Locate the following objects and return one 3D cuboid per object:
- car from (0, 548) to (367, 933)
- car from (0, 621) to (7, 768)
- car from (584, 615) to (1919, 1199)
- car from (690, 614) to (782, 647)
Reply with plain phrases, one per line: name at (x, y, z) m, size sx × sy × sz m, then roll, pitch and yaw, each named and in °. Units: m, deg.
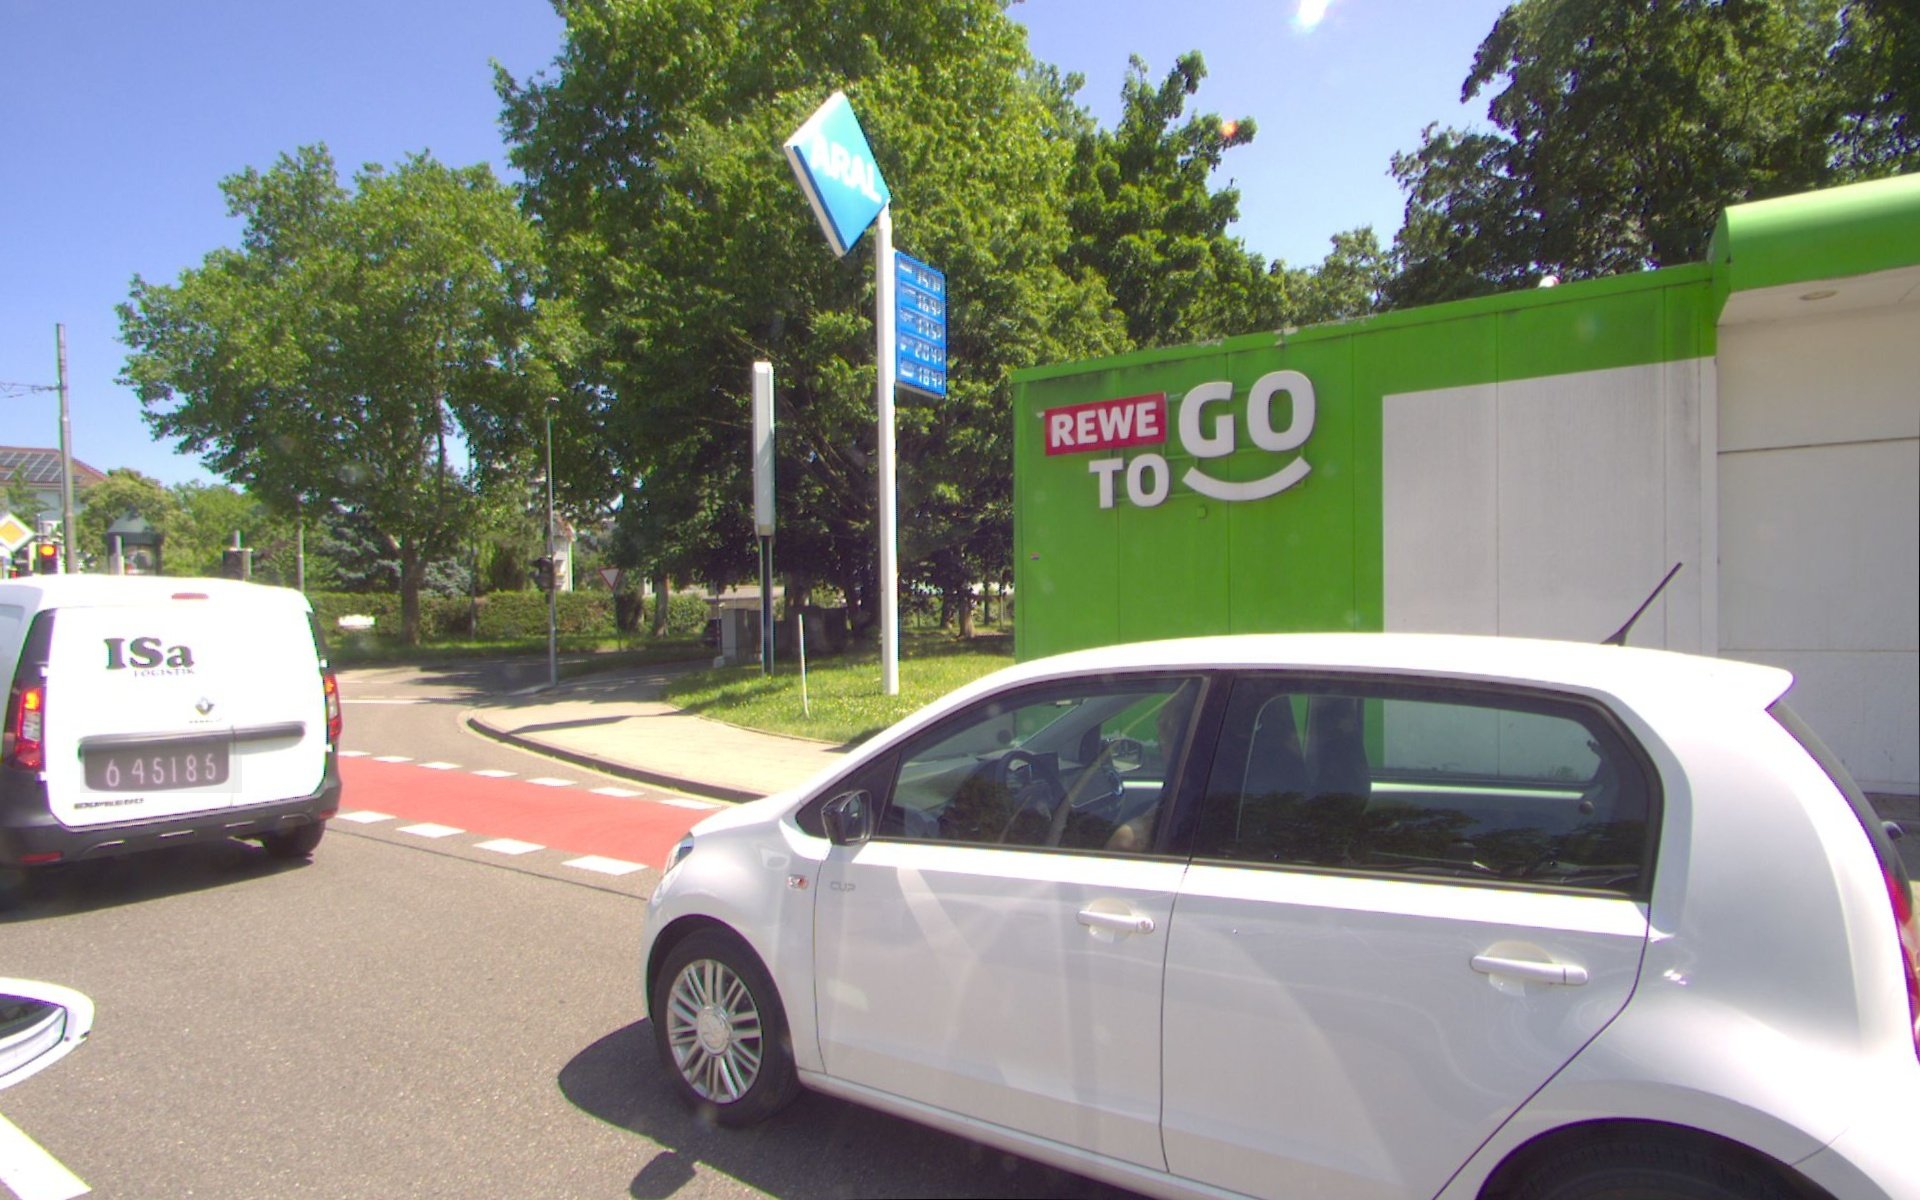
car at (-5.854, 0.722, 6.589) m, size 3.954 × 1.854 × 1.708 m, roll -1°, pitch -1°, yaw 31°
car at (-11.940, 0.969, 10.624) m, size 3.943 × 1.505 × 1.753 m, roll -1°, pitch -2°, yaw 33°
car at (0.655, 0.797, 2.984) m, size 3.472 × 1.470 × 1.603 m, roll -1°, pitch 0°, yaw 34°
car at (-10.192, 1.355, 45.725) m, size 1.677 × 1.329 × 3.852 m, roll -1°, pitch 1°, yaw 40°
